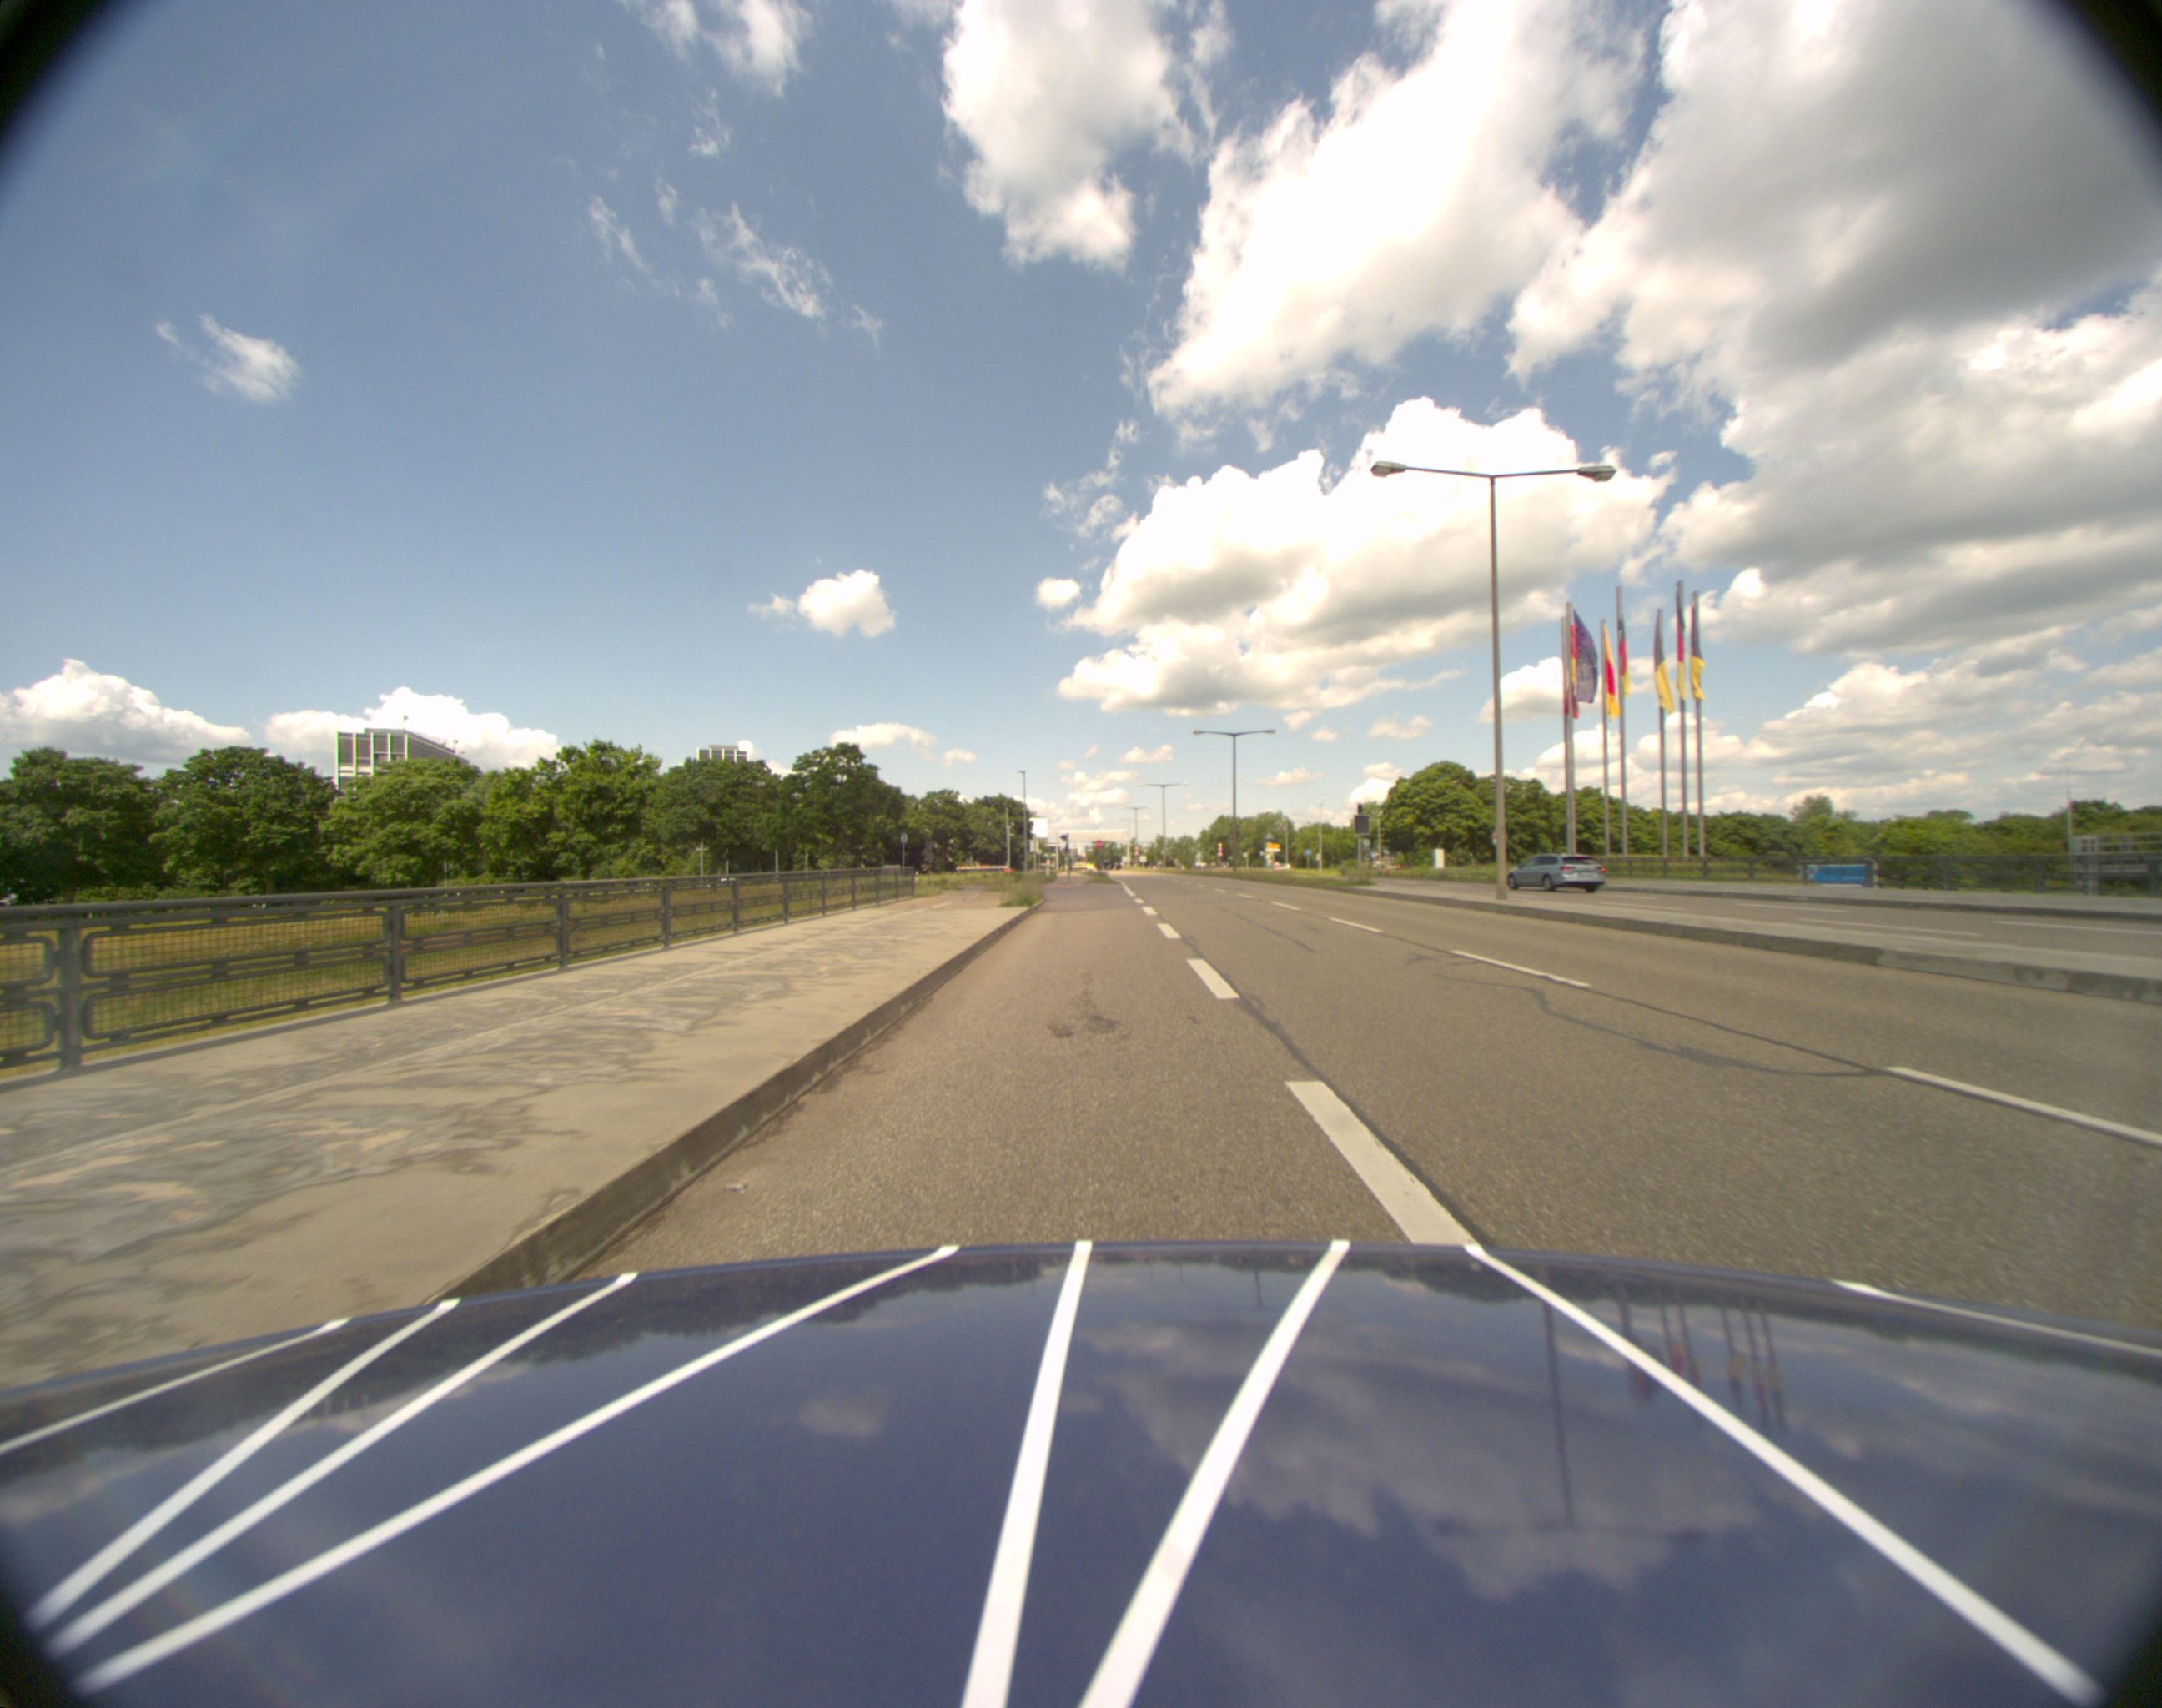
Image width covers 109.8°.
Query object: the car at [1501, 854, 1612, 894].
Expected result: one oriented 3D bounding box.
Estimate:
[{"bbox_3d":[18.477,0.742,29.778,1.667,1.405,4.551,1,-1,3],"label":"car"}]
